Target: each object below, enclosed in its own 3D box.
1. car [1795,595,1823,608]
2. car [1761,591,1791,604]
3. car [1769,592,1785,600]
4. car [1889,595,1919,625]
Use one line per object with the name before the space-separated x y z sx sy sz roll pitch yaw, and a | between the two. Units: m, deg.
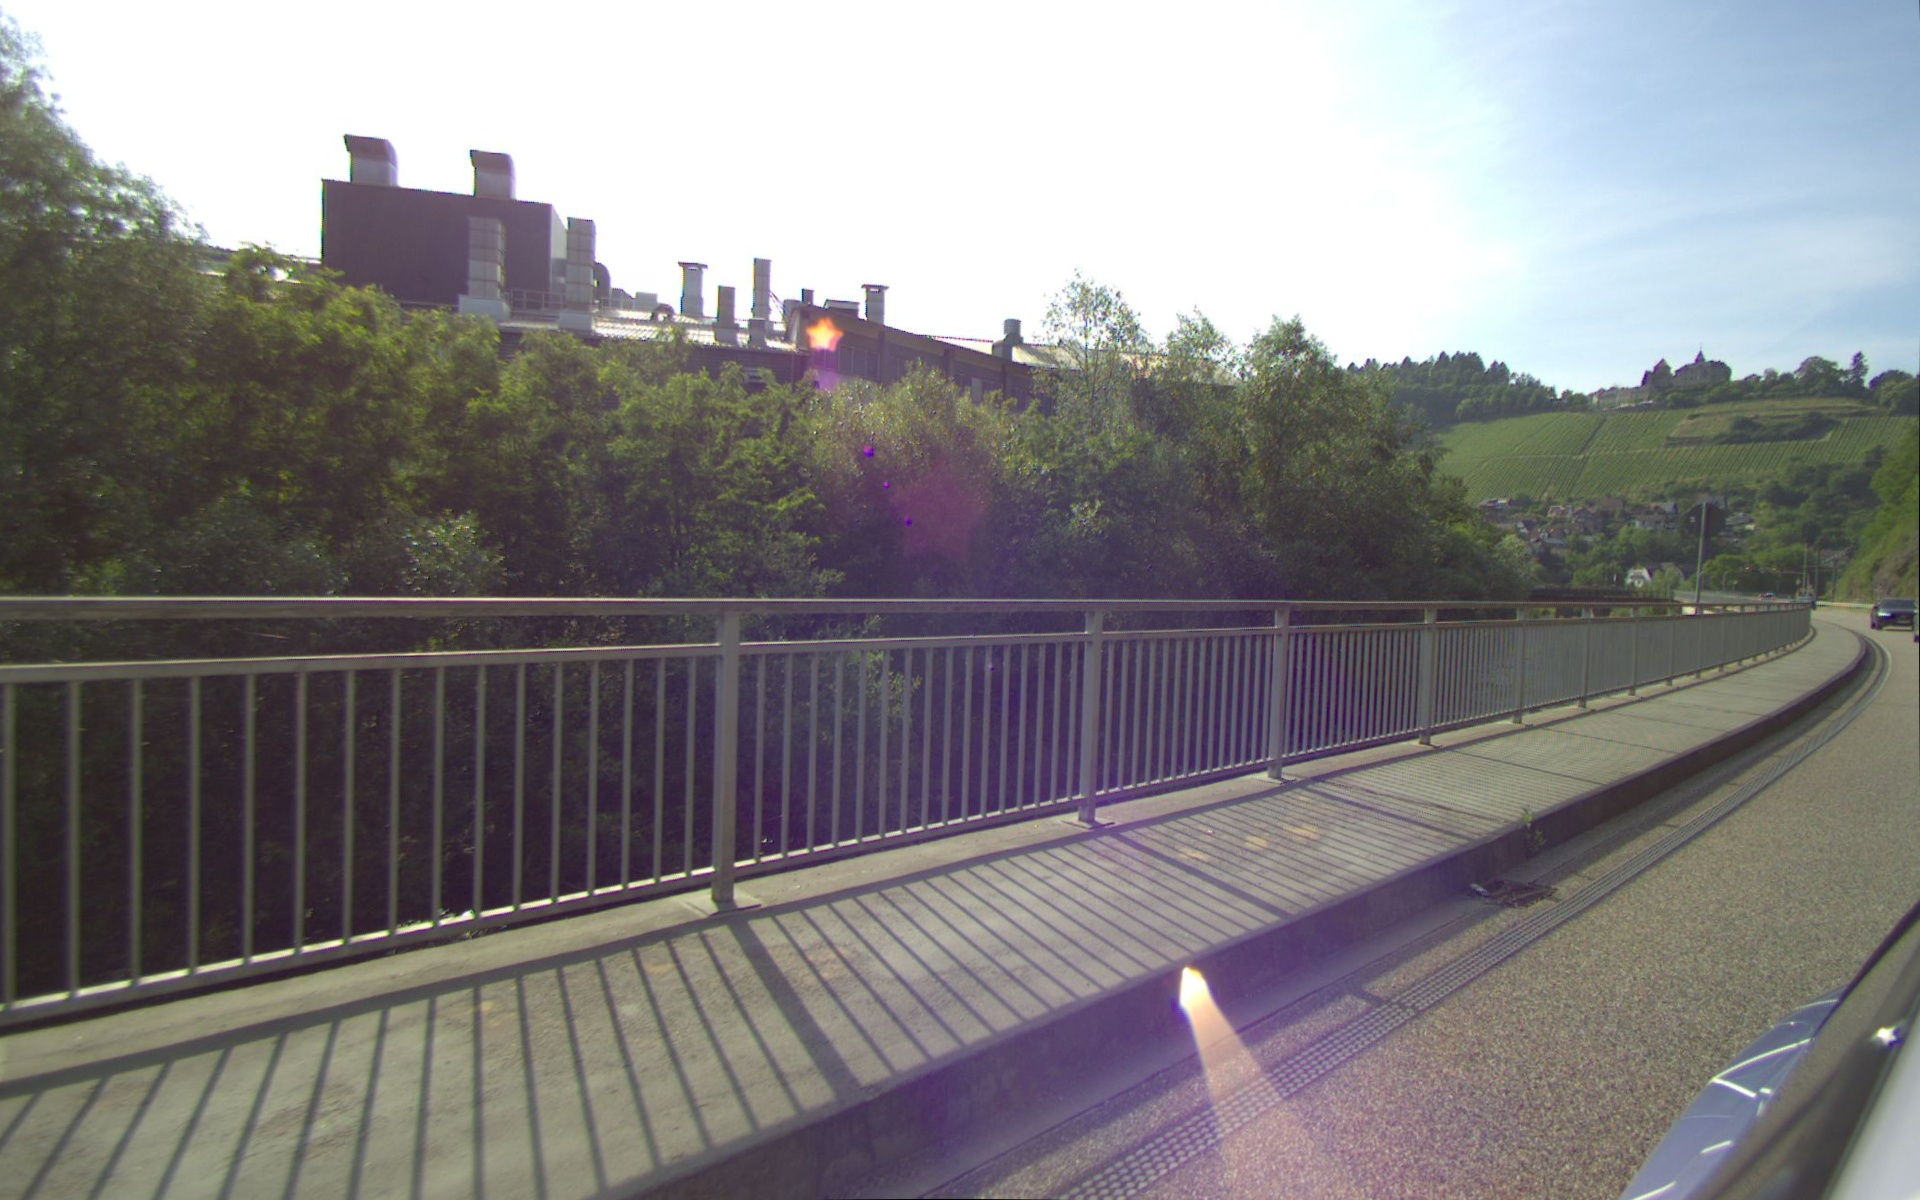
car | 93.207 0.166 111.078 1.840 1.420 4.421 0 -1 34
car | 107.143 -0.311 132.943 1.829 1.458 3.873 3 0 18
car | 162.617 -0.807 201.520 1.839 1.563 4.551 3 1 32
car | 48.799 0.555 51.557 1.994 1.409 3.939 7 4 41
